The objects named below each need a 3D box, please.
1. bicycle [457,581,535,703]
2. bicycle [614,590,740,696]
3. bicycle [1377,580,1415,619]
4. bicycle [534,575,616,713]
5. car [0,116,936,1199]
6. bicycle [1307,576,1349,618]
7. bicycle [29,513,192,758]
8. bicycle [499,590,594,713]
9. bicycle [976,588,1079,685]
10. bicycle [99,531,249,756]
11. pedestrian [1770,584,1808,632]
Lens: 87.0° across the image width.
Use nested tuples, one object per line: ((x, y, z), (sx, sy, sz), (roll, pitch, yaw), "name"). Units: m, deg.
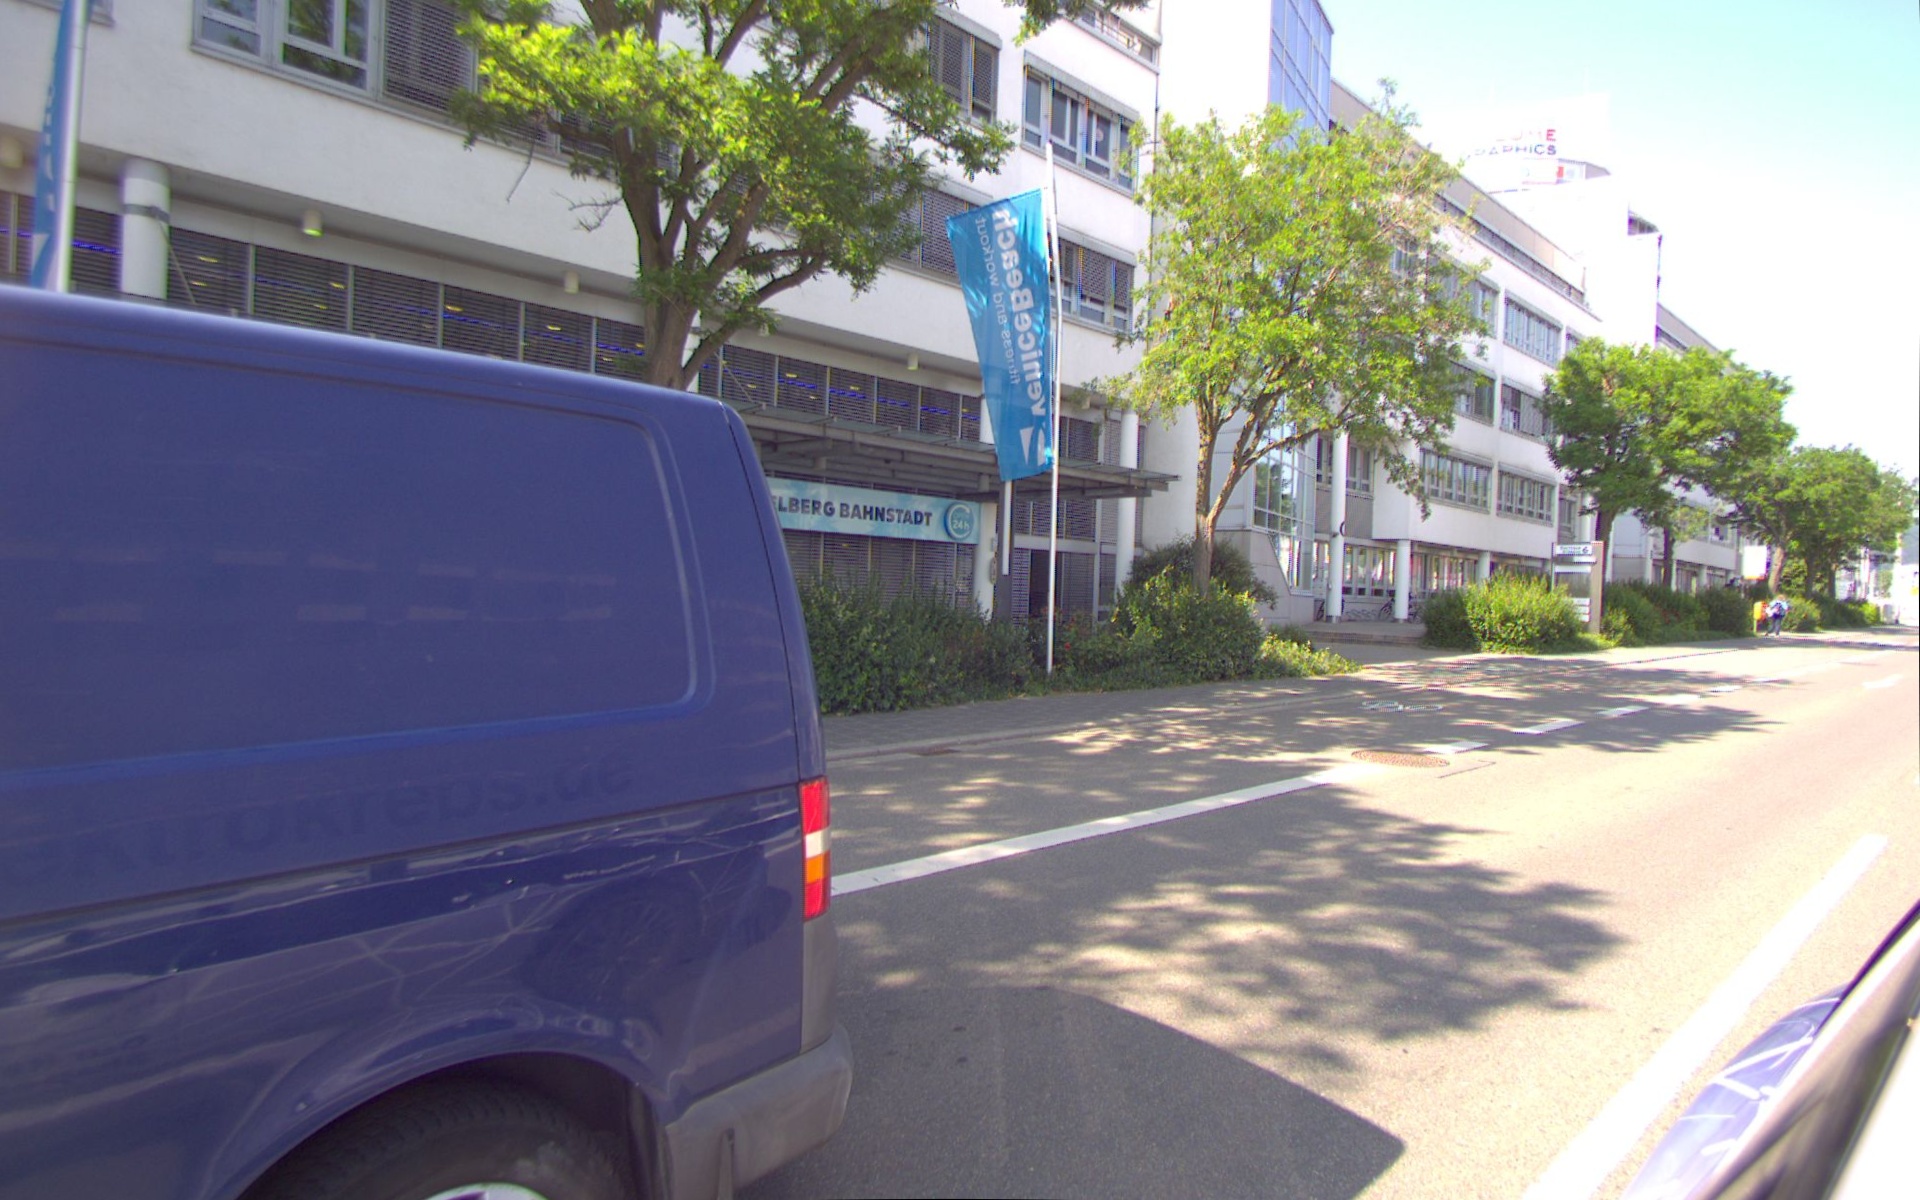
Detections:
((-5.561, 0.453, 12.214), (0.496, 1.346, 1.889), (1, 1, -14), "bicycle")
((-3.955, 0.567, 14.092), (1.868, 1.346, 0.501), (2, 1, 30), "bicycle")
((16.041, -0.024, 37.213), (1.851, 1.371, 0.506), (0, 1, -41), "bicycle")
((-4.064, 0.414, 10.776), (0.496, 1.346, 1.693), (1, 1, -10), "bicycle")
((-2.515, 0.404, 1.297), (4.806, 1.972, 1.997), (-1, 2, -41), "car")
((12.599, -0.104, 34.593), (1.851, 1.371, 0.506), (0, 1, -41), "bicycle")
((-7.029, 0.257, 8.444), (0.401, 1.868, 1.399), (1, 1, -11), "bicycle")
((-4.942, 0.564, 12.208), (0.496, 1.346, 1.886), (1, 1, -5), "bicycle")
((1.035, 0.518, 15.146), (0.504, 1.346, 1.856), (2, 1, 41), "bicycle")
((-6.604, 0.321, 8.573), (0.401, 1.743, 1.399), (1, 1, -11), "bicycle")
((34.908, 0.331, 42.603), (1.266, 1.909, 0.942), (0, 3, -41), "pedestrian")
